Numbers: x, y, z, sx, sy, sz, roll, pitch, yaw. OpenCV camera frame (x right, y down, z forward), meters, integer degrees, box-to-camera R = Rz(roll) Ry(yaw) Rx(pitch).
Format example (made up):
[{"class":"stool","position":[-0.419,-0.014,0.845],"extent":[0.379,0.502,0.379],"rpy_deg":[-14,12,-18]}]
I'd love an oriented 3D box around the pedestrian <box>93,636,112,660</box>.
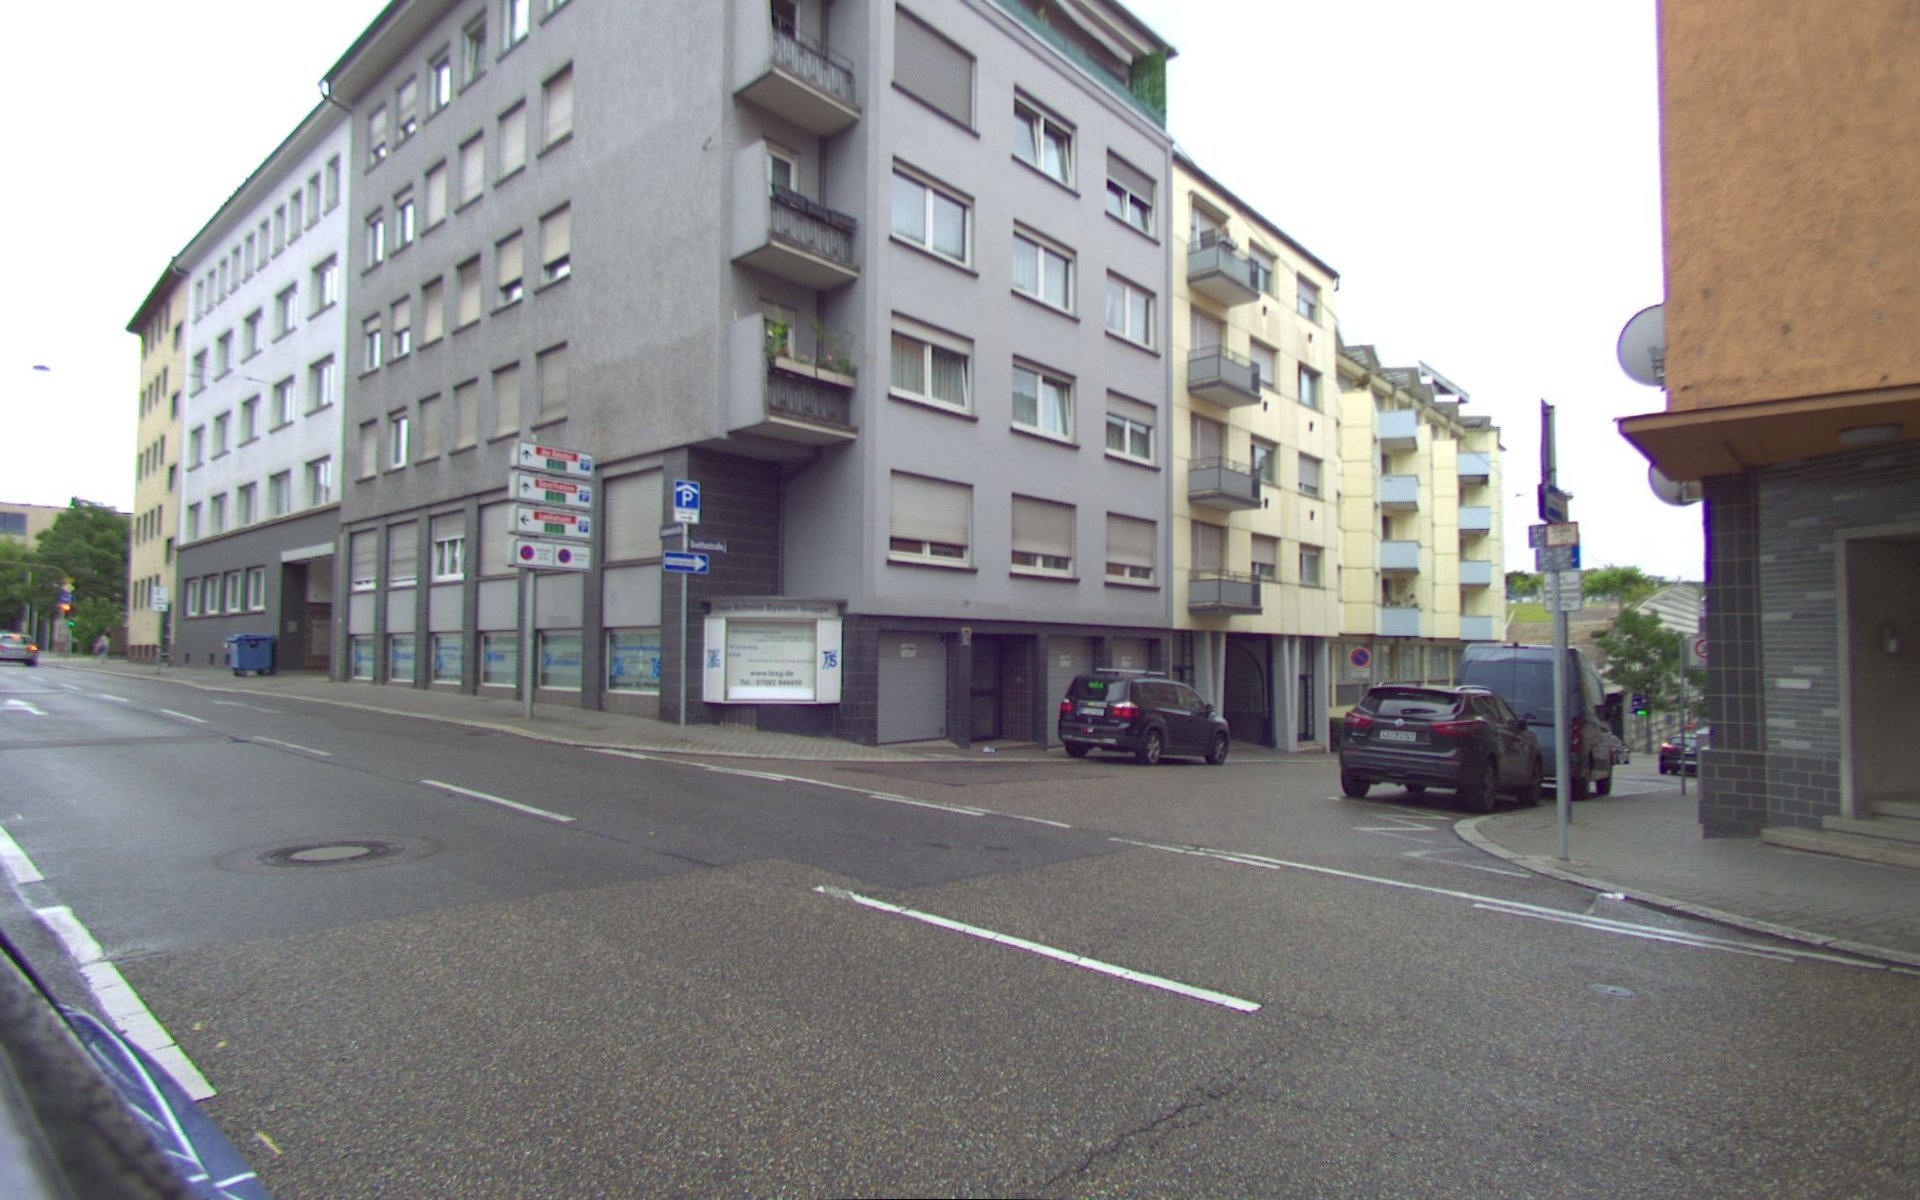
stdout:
[{"class":"pedestrian","position":[-42.002,2.357,49.560],"extent":[0.573,1.158,0.408],"rpy_deg":[5,-5,-35]}]

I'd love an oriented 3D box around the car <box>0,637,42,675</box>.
[{"class":"car","position":[-43.715,2.541,46.402],"extent":[4.371,1.602,1.858],"rpy_deg":[-1,-3,41]}]

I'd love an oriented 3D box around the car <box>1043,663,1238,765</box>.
[{"class":"car","position":[3.611,2.270,19.689],"extent":[1.794,1.700,4.186],"rpy_deg":[-1,-8,41]}]

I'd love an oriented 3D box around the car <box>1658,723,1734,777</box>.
[{"class":"car","position":[26.231,5.338,36.023],"extent":[1.817,1.688,3.998],"rpy_deg":[-1,-8,41]}]

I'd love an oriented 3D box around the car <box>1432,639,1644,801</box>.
[{"class":"car","position":[10.798,2.212,18.626],"extent":[2.249,2.481,5.975],"rpy_deg":[-1,-7,41]}]

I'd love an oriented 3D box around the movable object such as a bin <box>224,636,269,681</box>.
[{"class":"movable object such as a bin","position":[-22.670,1.853,32.169],"extent":[1.096,1.343,0.933],"rpy_deg":[-1,0,41]}]

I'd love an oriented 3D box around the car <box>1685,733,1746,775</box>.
[{"class":"car","position":[31.280,6.387,41.884],"extent":[1.722,1.506,3.998],"rpy_deg":[-1,-8,41]}]

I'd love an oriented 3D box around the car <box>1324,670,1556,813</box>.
[{"class":"car","position":[6.713,1.939,13.907],"extent":[1.842,1.589,4.098],"rpy_deg":[-1,-8,41]}]
